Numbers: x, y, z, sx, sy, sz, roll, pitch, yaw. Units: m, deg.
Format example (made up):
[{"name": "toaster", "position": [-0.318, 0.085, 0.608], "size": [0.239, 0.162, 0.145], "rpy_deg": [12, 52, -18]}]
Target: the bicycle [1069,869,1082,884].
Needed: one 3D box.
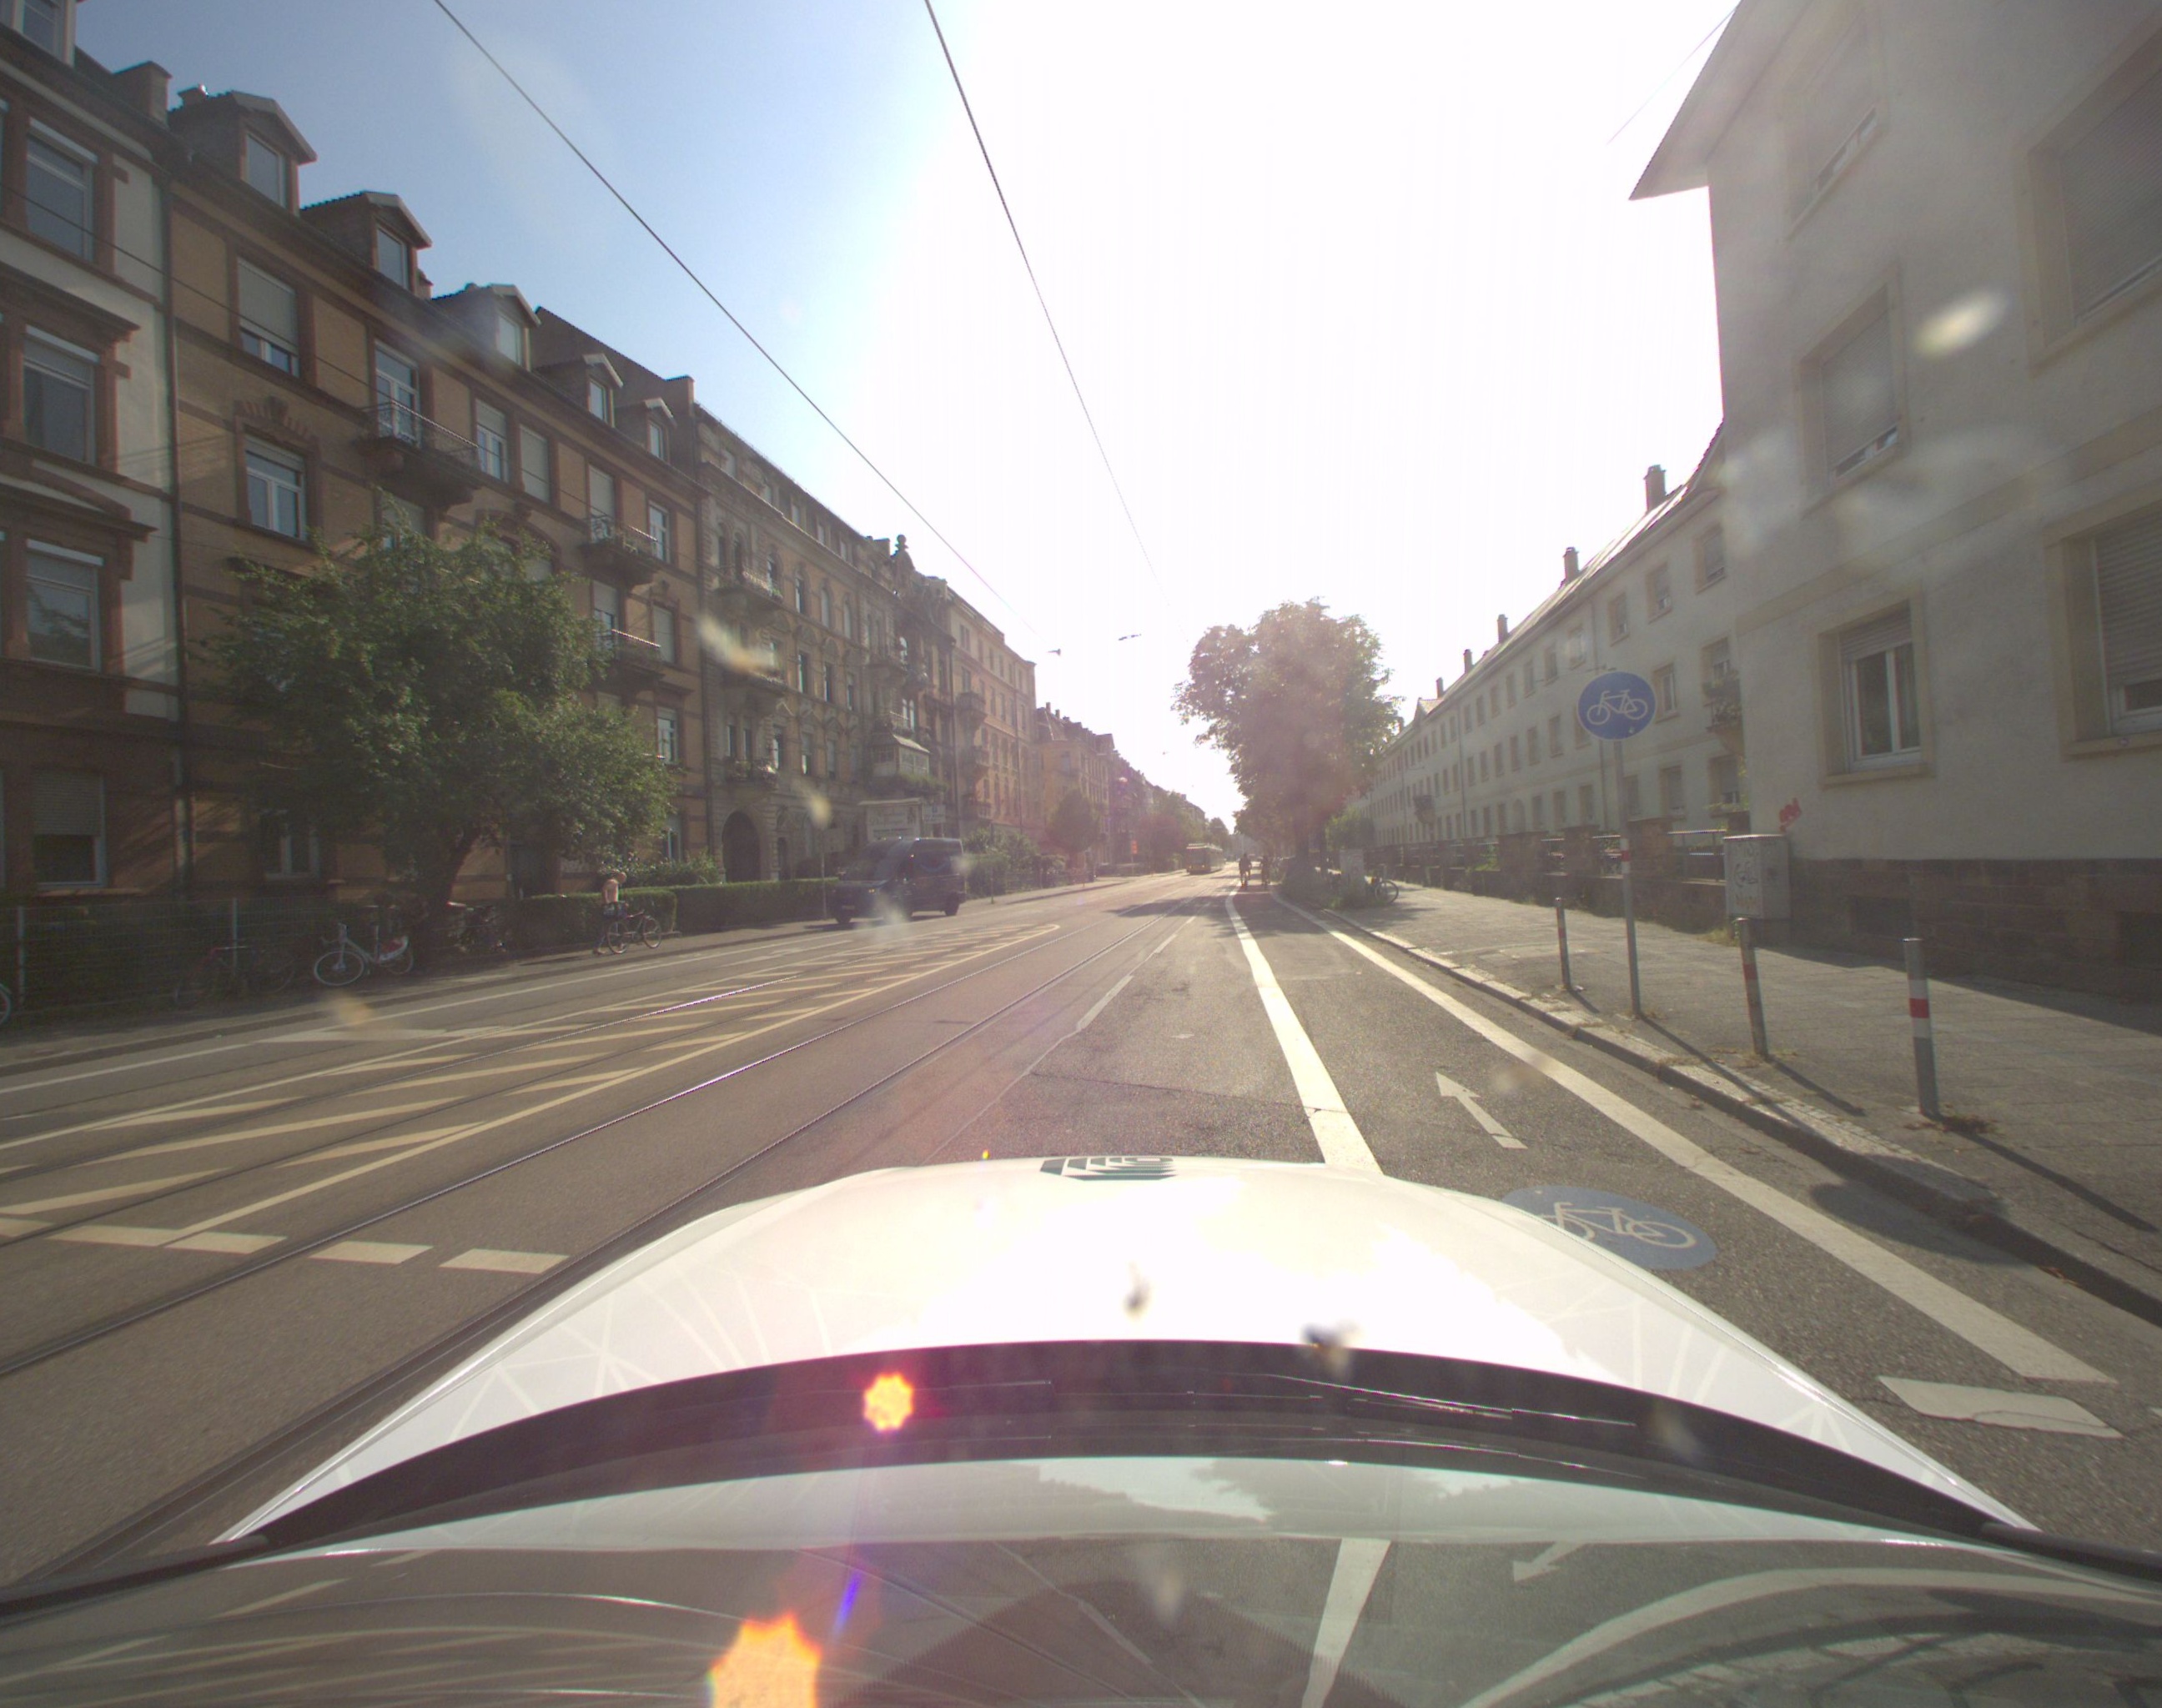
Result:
[{"name": "bicycle", "position": [-0.397, 1.634, 60.331], "size": [0.541, 1.058, 1.846], "rpy_deg": [1, 0, 14]}]

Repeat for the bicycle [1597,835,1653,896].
[{"name": "bicycle", "position": [11.484, 0.234, 17.235], "size": [0.450, 1.216, 1.747], "rpy_deg": [-2, -1, 17]}]

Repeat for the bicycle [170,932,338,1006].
[{"name": "bicycle", "position": [-12.375, 1.701, 12.267], "size": [0.522, 0.860, 1.709], "rpy_deg": [-3, 0, 15]}]

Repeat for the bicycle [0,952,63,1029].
[{"name": "bicycle", "position": [-13.413, 1.692, 9.502], "size": [0.522, 0.860, 1.836], "rpy_deg": [-3, 0, 15]}]

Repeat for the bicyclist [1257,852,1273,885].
[{"name": "bicyclist", "position": [8.586, 0.676, 37.999], "size": [0.650, 1.474, 0.911], "rpy_deg": [-1, -1, 11]}]

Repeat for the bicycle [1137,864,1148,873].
[{"name": "bicycle", "position": [7.598, 1.779, 100.796], "size": [1.349, 1.060, 0.418], "rpy_deg": [-2, -1, 9]}]

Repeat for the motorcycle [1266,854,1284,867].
[{"name": "motorcycle", "position": [27.480, 0.914, 115.400], "size": [0.917, 1.674, 2.394], "rpy_deg": [-4, -1, -33]}]

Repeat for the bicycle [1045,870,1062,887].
[{"name": "bicycle", "position": [-1.847, 1.607, 54.528], "size": [0.602, 1.058, 1.846], "rpy_deg": [1, 0, 14]}]

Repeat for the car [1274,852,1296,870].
[{"name": "car", "position": [18.838, 0.674, 75.180], "size": [1.678, 1.502, 4.109], "rpy_deg": [-6, -2, 12]}]

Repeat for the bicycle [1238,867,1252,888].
[{"name": "bicycle", "position": [7.716, 1.100, 38.227], "size": [0.622, 0.909, 1.530], "rpy_deg": [-1, -1, 12]}]

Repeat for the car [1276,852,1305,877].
[{"name": "car", "position": [13.895, 0.670, 54.264], "size": [1.634, 1.448, 4.260], "rpy_deg": [-5, -2, 13]}]

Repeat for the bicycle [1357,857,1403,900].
[{"name": "bicycle", "position": [8.393, 0.660, 22.943], "size": [0.767, 1.104, 2.340], "rpy_deg": [-3, -1, 10]}]

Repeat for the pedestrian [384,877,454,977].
[{"name": "pedestrian", "position": [-11.721, 1.271, 14.433], "size": [0.634, 1.678, 0.634], "rpy_deg": [-3, -1, 0]}]

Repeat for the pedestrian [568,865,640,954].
[{"name": "pedestrian", "position": [-10.180, 1.166, 17.412], "size": [0.723, 1.806, 1.096], "rpy_deg": [-3, -1, 11]}]

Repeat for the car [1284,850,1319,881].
[{"name": "car", "position": [12.591, 0.632, 46.398], "size": [1.632, 1.540, 3.860], "rpy_deg": [-5, -2, 18]}]

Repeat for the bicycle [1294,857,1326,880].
[{"name": "bicycle", "position": [11.283, 0.700, 40.118], "size": [1.736, 1.073, 0.519], "rpy_deg": [-2, -1, -37]}]

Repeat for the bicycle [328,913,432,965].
[{"name": "bicycle", "position": [-13.052, 1.578, 15.177], "size": [1.685, 0.860, 0.530], "rpy_deg": [-3, -1, 12]}]

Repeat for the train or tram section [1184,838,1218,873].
[{"name": "train or tram section", "position": [13.889, 0.171, 93.091], "size": [2.716, 3.506, 15.483], "rpy_deg": [-3, -1, 12]}]

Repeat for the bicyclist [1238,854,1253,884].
[{"name": "bicyclist", "position": [7.726, 0.695, 38.239], "size": [0.622, 1.401, 0.932], "rpy_deg": [-1, -1, 11]}]

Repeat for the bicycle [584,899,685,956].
[{"name": "bicycle", "position": [-9.547, 1.551, 17.526], "size": [0.614, 1.007, 2.158], "rpy_deg": [-3, -1, 12]}]

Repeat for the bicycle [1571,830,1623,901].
[{"name": "bicycle", "position": [11.193, 0.247, 17.698], "size": [0.450, 1.455, 1.747], "rpy_deg": [-2, -1, 17]}]

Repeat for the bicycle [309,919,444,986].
[{"name": "bicycle", "position": [-11.983, 1.655, 13.922], "size": [0.522, 0.927, 1.709], "rpy_deg": [-3, 0, 15]}]

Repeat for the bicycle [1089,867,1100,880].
[{"name": "bicycle", "position": [1.107, 1.596, 67.219], "size": [0.541, 1.058, 1.846], "rpy_deg": [1, 0, 14]}]

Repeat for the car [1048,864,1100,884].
[{"name": "car", "position": [-0.616, 1.740, 71.126], "size": [4.110, 1.543, 2.071], "rpy_deg": [-3, -2, 11]}]

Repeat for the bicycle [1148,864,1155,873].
[{"name": "bicycle", "position": [8.789, 1.779, 101.601], "size": [0.505, 1.108, 2.010], "rpy_deg": [-3, -1, 13]}]

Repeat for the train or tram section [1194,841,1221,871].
[{"name": "train or tram section", "position": [16.586, 0.257, 106.000], "size": [2.716, 3.506, 10.811], "rpy_deg": [-3, -1, 12]}]

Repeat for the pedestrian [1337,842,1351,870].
[{"name": "pedestrian", "position": [17.021, 0.151, 52.698], "size": [0.746, 1.749, 0.882], "rpy_deg": [-3, -1, 19]}]

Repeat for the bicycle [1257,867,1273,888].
[{"name": "bicycle", "position": [8.590, 1.081, 38.009], "size": [0.650, 0.909, 1.780], "rpy_deg": [-1, -1, 12]}]

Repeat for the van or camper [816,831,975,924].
[{"name": "van or camper", "position": [-5.884, 0.723, 26.892], "size": [2.033, 2.644, 6.119], "rpy_deg": [-4, -2, 19]}]
